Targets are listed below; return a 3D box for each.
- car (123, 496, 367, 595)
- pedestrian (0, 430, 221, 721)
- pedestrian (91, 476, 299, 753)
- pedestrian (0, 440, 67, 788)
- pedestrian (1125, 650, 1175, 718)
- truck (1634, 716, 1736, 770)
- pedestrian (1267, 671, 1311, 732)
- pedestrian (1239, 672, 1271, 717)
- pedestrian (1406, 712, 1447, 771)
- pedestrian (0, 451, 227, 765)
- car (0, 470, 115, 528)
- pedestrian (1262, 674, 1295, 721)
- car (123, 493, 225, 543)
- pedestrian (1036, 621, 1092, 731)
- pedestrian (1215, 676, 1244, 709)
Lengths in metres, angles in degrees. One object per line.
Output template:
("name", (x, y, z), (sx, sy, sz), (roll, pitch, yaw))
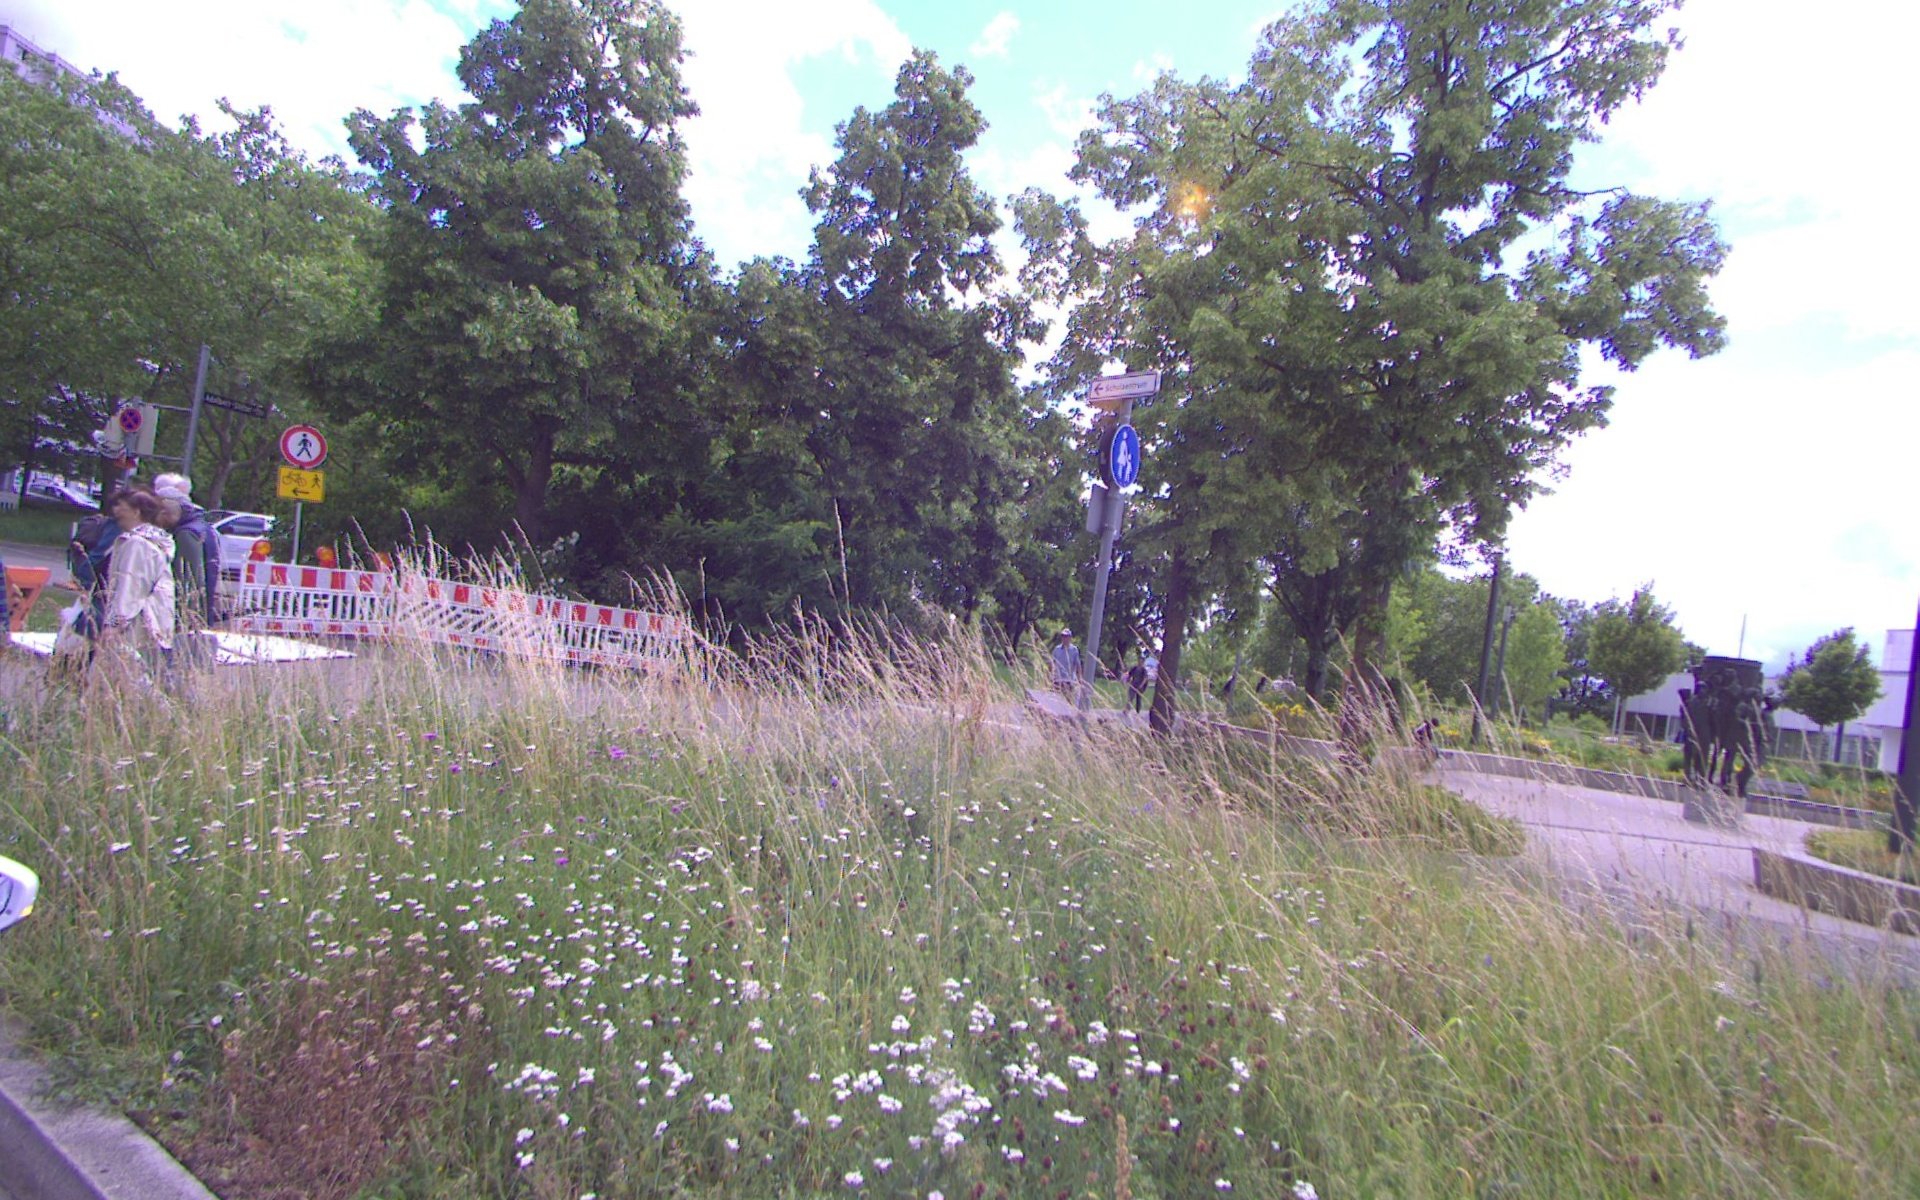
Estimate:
("car", (-19.714, -1.436, 28.046), (1.915, 1.895, 5.090), (7, -2, 28))
("pedestrian", (-5.989, -0.148, 7.066), (1.002, 1.795, 0.941), (8, 0, -31))
("pedestrian", (-5.033, 0.104, 6.696), (0.863, 1.654, 0.759), (8, 0, -32))
("pedestrian", (-5.111, 0.016, 5.005), (0.819, 1.690, 0.725), (8, 0, -41))
("pedestrian", (5.062, 2.241, 26.826), (0.879, 1.647, 0.817), (8, 0, 30))
("truck", (37.325, 7.318, 51.916), (1.965, 2.037, 3.999), (8, -1, -4))
("pedestrian", (12.015, 3.704, 36.688), (1.137, 2.037, 0.817), (8, 0, 30))
("pedestrian", (11.915, 3.832, 40.638), (0.872, 1.681, 0.817), (8, 0, 30))
("pedestrian", (10.745, 3.254, 23.170), (0.623, 1.236, 0.618), (7, -1, 36))
("pedestrian", (-4.977, 0.060, 5.936), (0.817, 1.659, 0.727), (8, 0, -32))
("car", (-43.689, -4.841, 48.565), (3.926, 2.037, 2.001), (8, -1, 0))
("pedestrian", (12.645, 3.880, 39.975), (0.879, 1.732, 0.817), (8, 0, 30))
("car", (-44.237, -4.599, 56.685), (3.926, 2.037, 2.001), (8, -1, 0))
("pedestrian", (1.884, 1.377, 18.383), (0.758, 1.862, 0.765), (7, -1, 3))
("pedestrian", (14.595, 4.994, 54.530), (1.135, 1.571, 0.818), (8, -1, -2))
